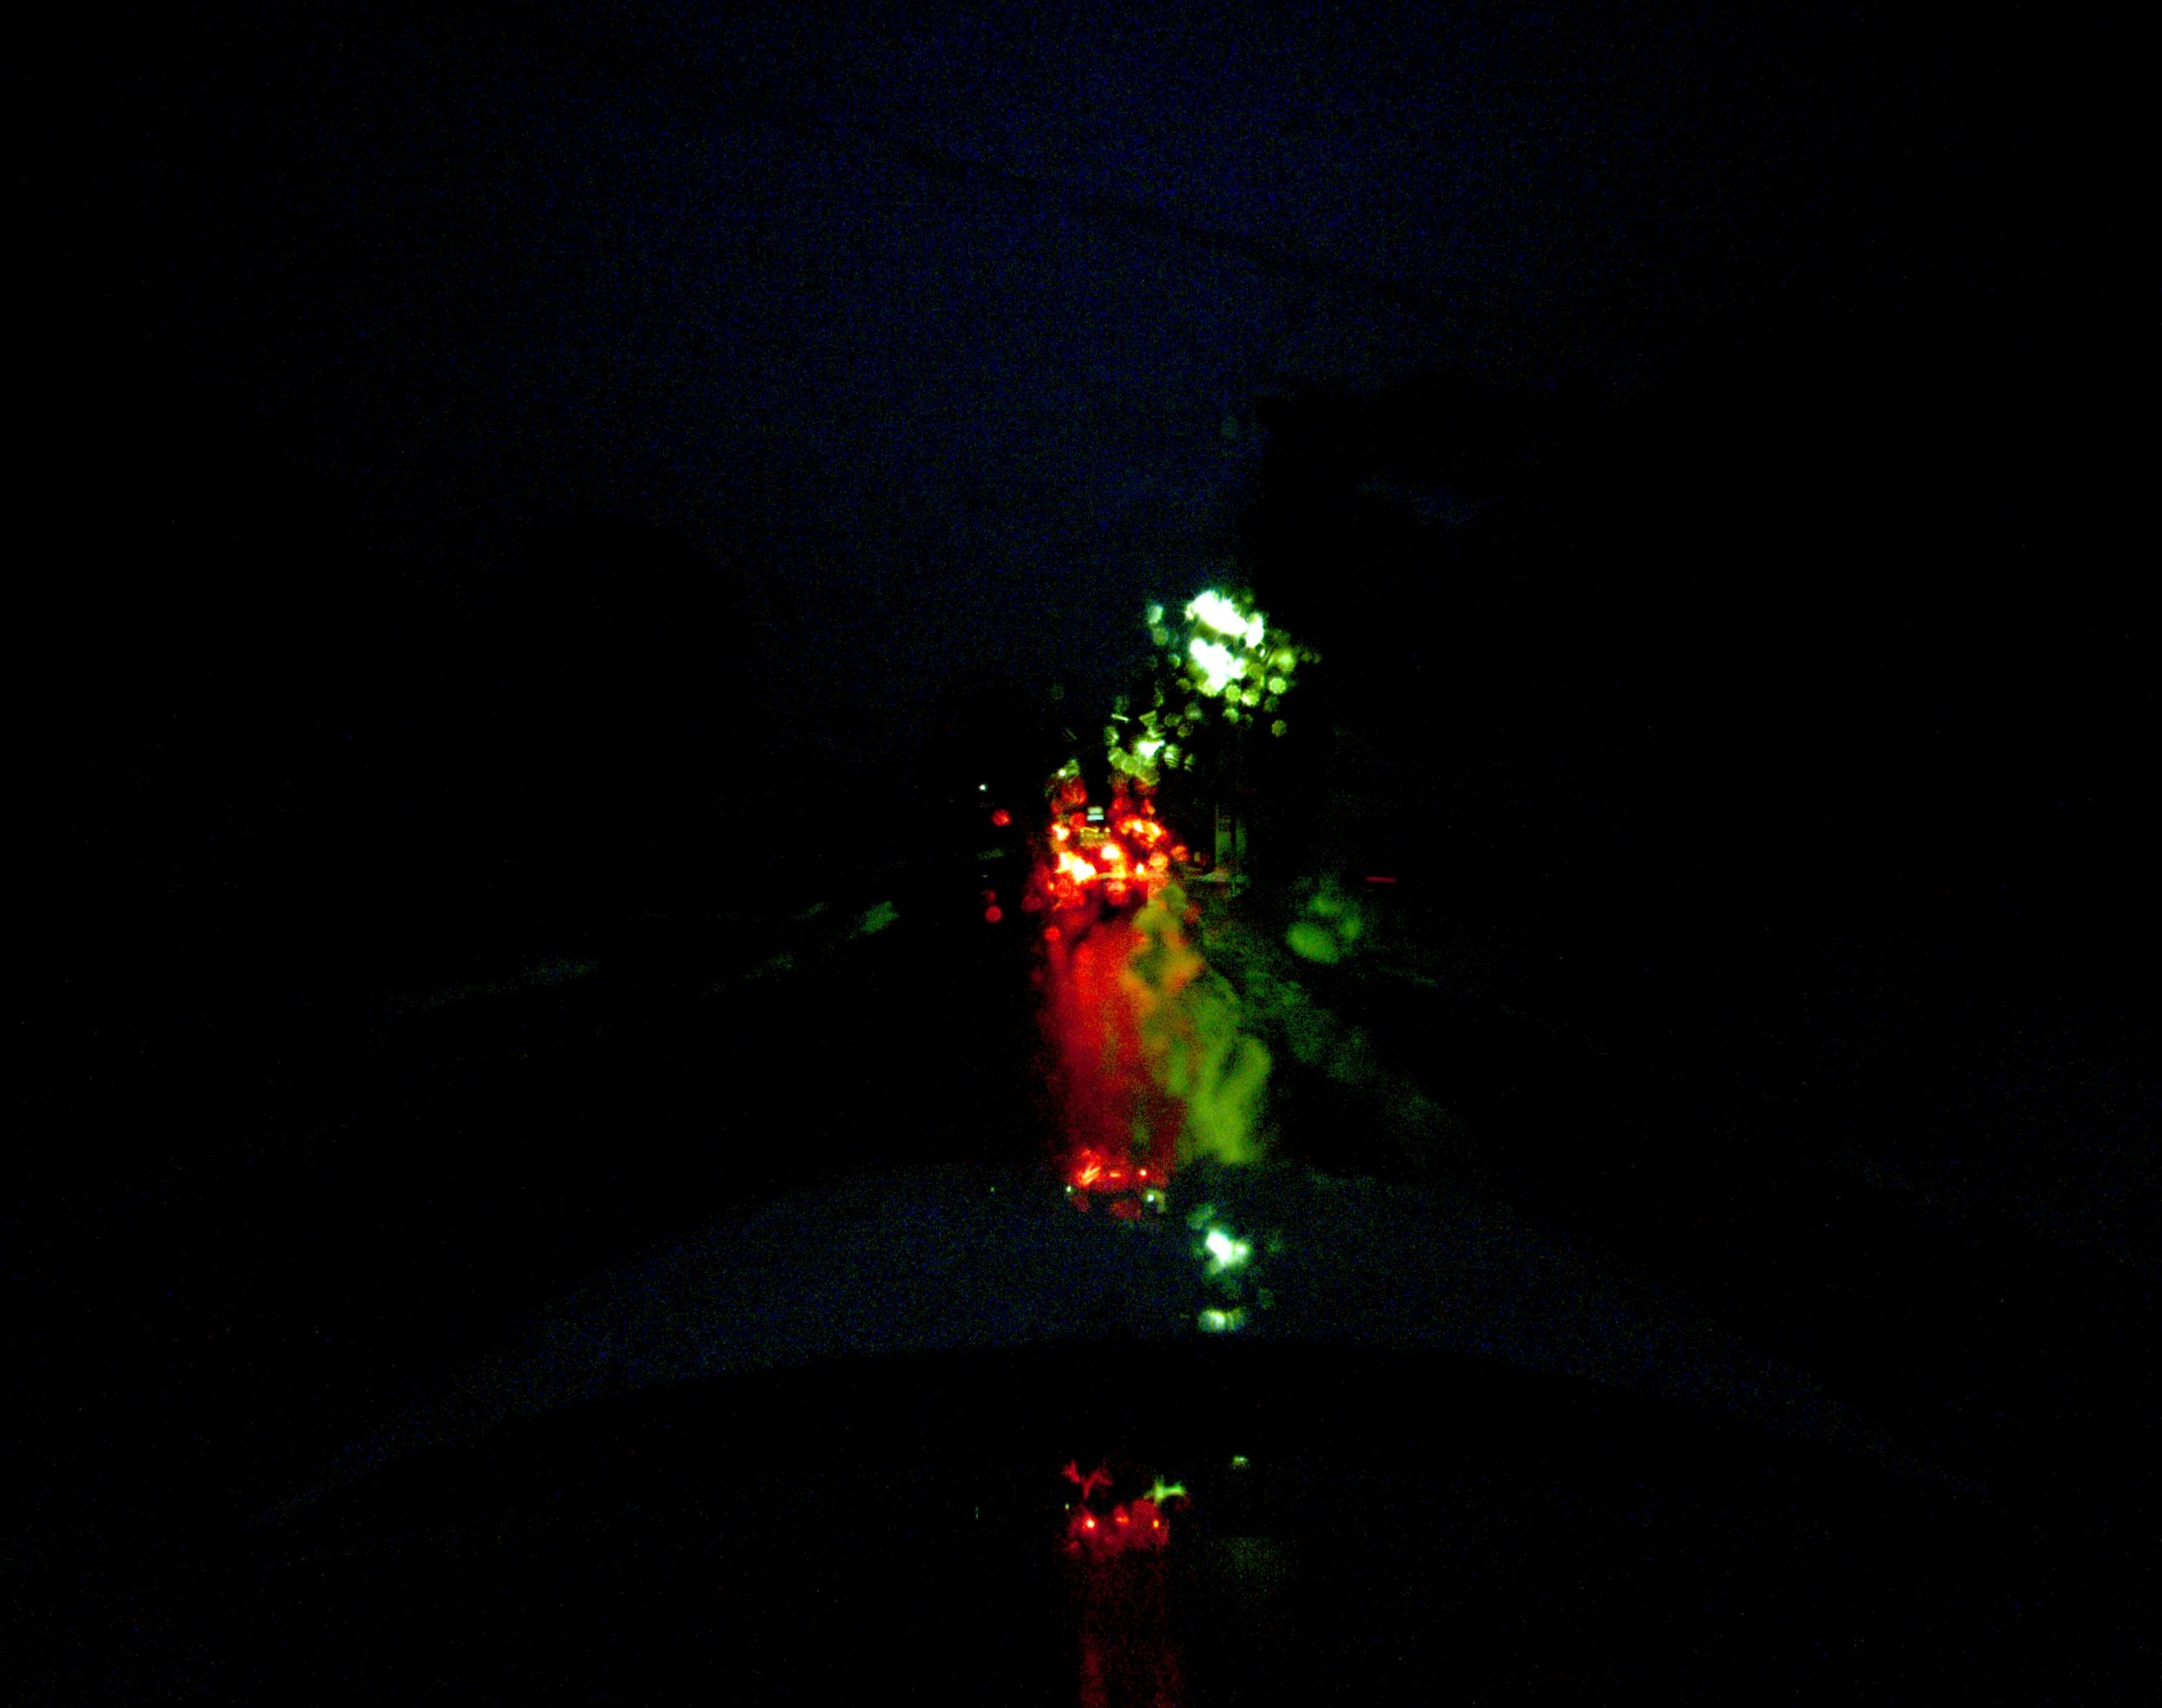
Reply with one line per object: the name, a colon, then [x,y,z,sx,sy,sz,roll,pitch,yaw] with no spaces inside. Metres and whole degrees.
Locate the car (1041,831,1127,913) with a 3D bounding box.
car: [0.173,0.370,20.154,1.814,1.796,3.582,-2,1,4]

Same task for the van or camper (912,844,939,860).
van or camper: [-11.650,-0.140,61.025,1.289,1.101,3.246,0,-1,-24]

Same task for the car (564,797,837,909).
car: [-9.636,-0.004,21.024,6.133,2.553,1.981,0,-1,-30]
